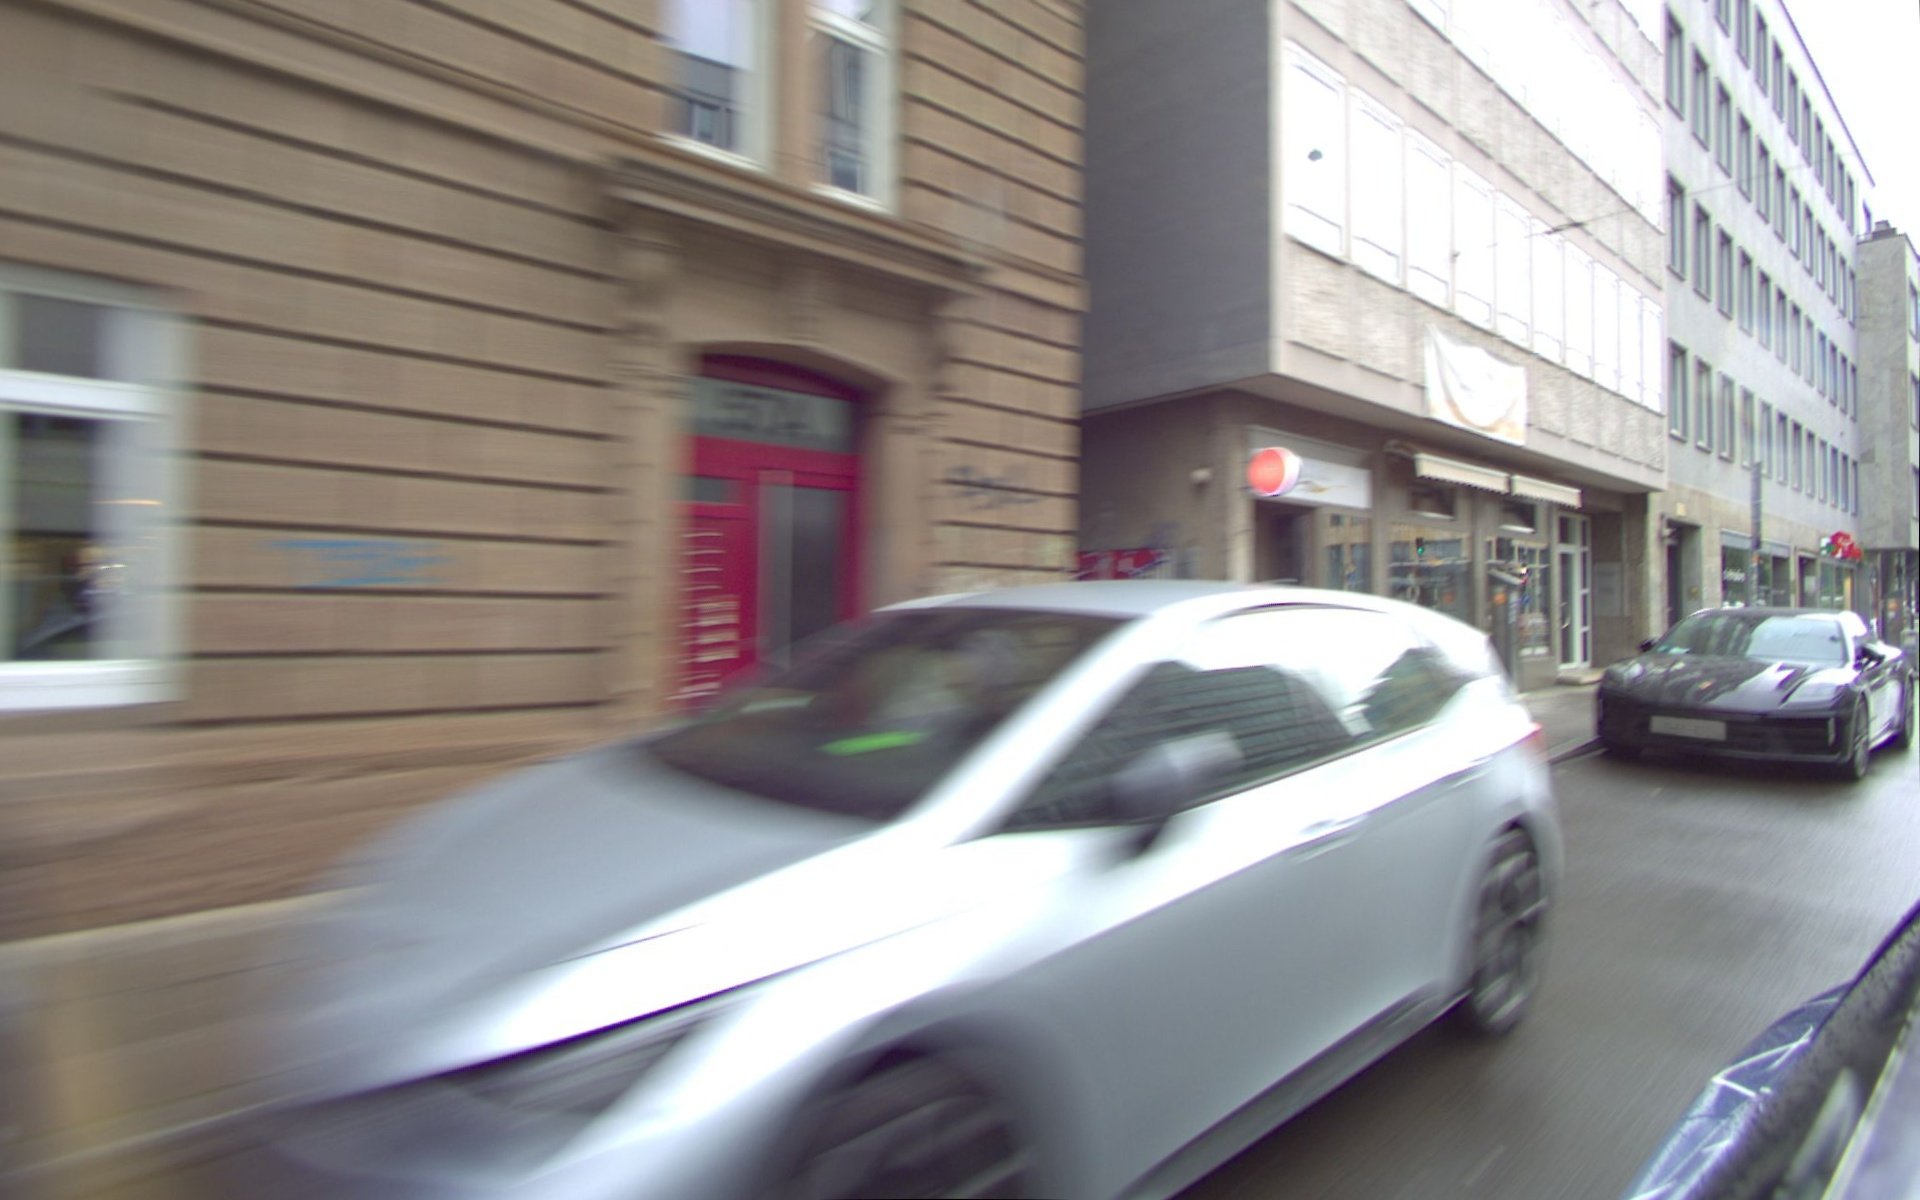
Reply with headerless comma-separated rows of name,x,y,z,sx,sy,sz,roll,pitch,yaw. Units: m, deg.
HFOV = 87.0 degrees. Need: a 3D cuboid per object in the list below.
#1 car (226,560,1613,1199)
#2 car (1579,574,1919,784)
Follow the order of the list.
car,0.401,0.784,3.230,4.279,1.543,1.748,2,-2,-42
car,8.053,0.603,10.045,4.491,1.614,1.997,0,0,-41
